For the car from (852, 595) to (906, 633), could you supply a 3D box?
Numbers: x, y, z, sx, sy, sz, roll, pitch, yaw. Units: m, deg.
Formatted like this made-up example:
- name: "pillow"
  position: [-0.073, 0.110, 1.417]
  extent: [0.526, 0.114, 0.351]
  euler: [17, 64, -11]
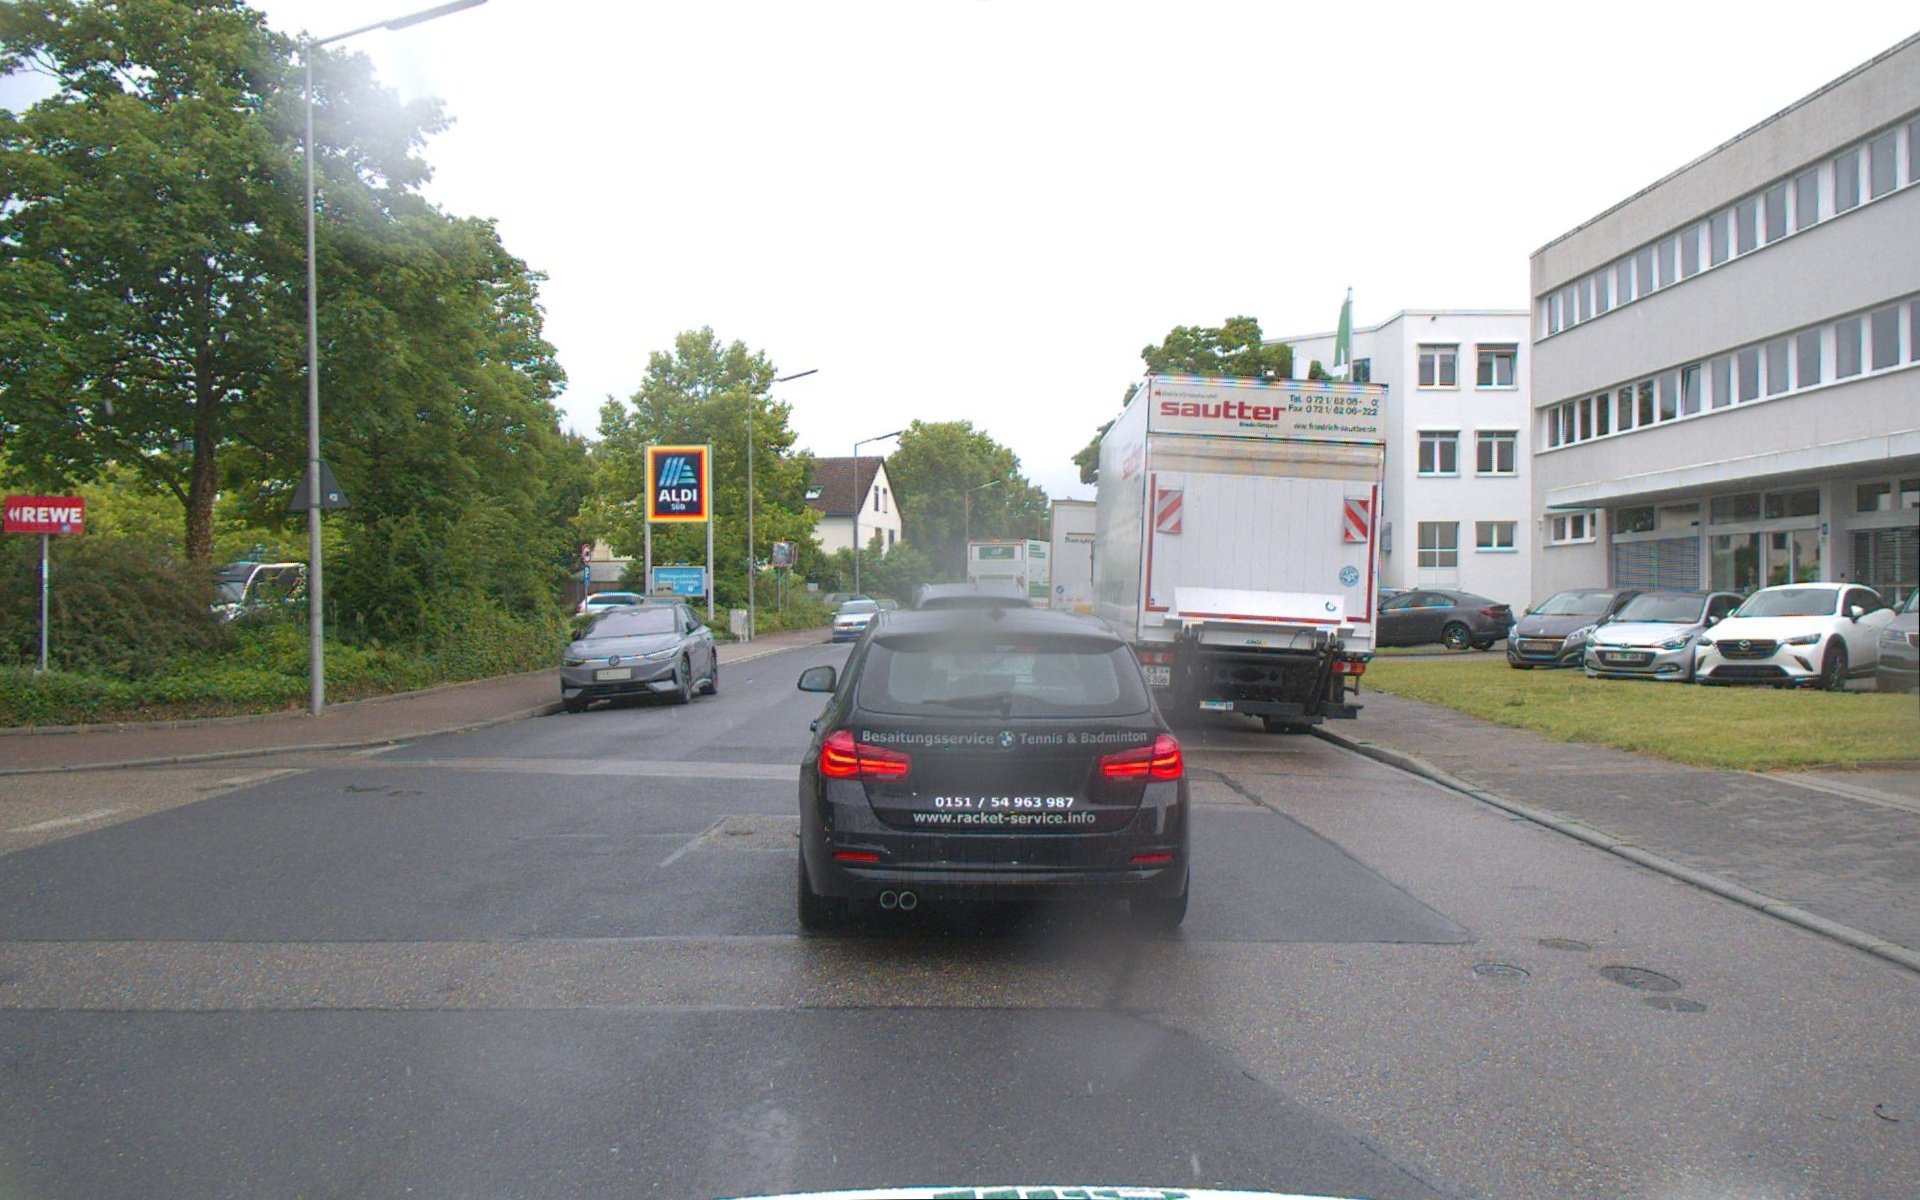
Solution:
- name: "car"
  position: [-3.163, 0.536, 65.587]
  extent: [1.670, 1.391, 3.840]
  euler: [-3, 0, 3]

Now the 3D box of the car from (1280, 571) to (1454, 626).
- name: "car"
  position: [15.879, -0.053, 64.660]
  extent: [6.326, 2.049, 1.998]
  euler: [0, -1, -5]

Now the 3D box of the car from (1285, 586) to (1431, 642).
- name: "car"
  position: [11.497, 0.377, 47.892]
  extent: [3.712, 1.421, 1.718]
  euler: [4, 3, 40]

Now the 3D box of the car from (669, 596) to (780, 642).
- name: "car"
  position: [-8.076, 0.638, 56.986]
  extent: [3.495, 1.485, 1.713]
  euler: [1, 0, 2]

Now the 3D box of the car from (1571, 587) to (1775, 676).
- name: "car"
  position: [11.508, 0.458, 26.573]
  extent: [1.678, 1.309, 3.971]
  euler: [0, 0, 45]

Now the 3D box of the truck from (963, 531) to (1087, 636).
- name: "truck"
  position: [2.402, -0.669, 57.993]
  extent: [2.292, 3.313, 7.755]
  euler: [3, 3, 17]

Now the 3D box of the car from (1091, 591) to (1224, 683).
- name: "car"
  position: [3.339, 0.588, 28.729]
  extent: [1.761, 1.466, 4.344]
  euler: [-1, 0, 0]

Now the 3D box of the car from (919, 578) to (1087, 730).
- name: "car"
  position: [0.415, 0.586, 19.706]
  extent: [1.768, 1.614, 3.998]
  euler: [0, 0, -2]

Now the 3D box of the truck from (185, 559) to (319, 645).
- name: "truck"
  position: [-24.466, 0.059, 57.433]
  extent: [1.953, 2.801, 6.466]
  euler: [-1, 0, -1]

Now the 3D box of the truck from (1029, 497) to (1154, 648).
- name: "truck"
  position: [3.446, -0.707, 45.192]
  extent: [2.685, 3.674, 7.749]
  euler: [2, 0, 0]

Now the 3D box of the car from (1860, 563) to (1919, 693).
- name: "car"
  position: [13.090, 0.316, 21.078]
  extent: [1.842, 1.554, 3.972]
  euler: [0, 0, 45]

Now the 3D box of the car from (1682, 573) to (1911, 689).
- name: "car"
  position: [11.842, 0.381, 23.306]
  extent: [1.746, 1.496, 3.971]
  euler: [0, 0, 45]

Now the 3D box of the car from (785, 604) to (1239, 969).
- name: "car"
  position: [0.150, 0.738, 8.466]
  extent: [1.768, 1.419, 3.998]
  euler: [0, 0, -2]

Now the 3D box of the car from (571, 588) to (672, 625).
- name: "car"
  position: [-14.484, 0.272, 70.862]
  extent: [3.904, 1.567, 1.911]
  euler: [0, 0, 1]

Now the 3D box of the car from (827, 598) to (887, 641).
- name: "car"
  position: [-3.642, 0.674, 59.163]
  extent: [1.670, 1.391, 4.602]
  euler: [-3, 0, 2]

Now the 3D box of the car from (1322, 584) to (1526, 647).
- name: "car"
  position: [11.515, 0.380, 41.227]
  extent: [4.586, 1.493, 1.783]
  euler: [0, 0, 38]

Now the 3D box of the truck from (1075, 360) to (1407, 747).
- name: "truck"
  position: [3.204, -0.493, 21.591]
  extent: [2.685, 3.855, 9.299]
  euler: [2, 0, 0]

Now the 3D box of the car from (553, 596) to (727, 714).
- name: "car"
  position: [-4.927, 0.793, 26.133]
  extent: [1.772, 1.555, 4.747]
  euler: [-4, 0, -1]

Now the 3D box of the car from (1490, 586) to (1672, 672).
- name: "car"
  position: [11.164, 0.474, 29.648]
  extent: [1.678, 1.417, 3.741]
  euler: [0, 0, 45]
